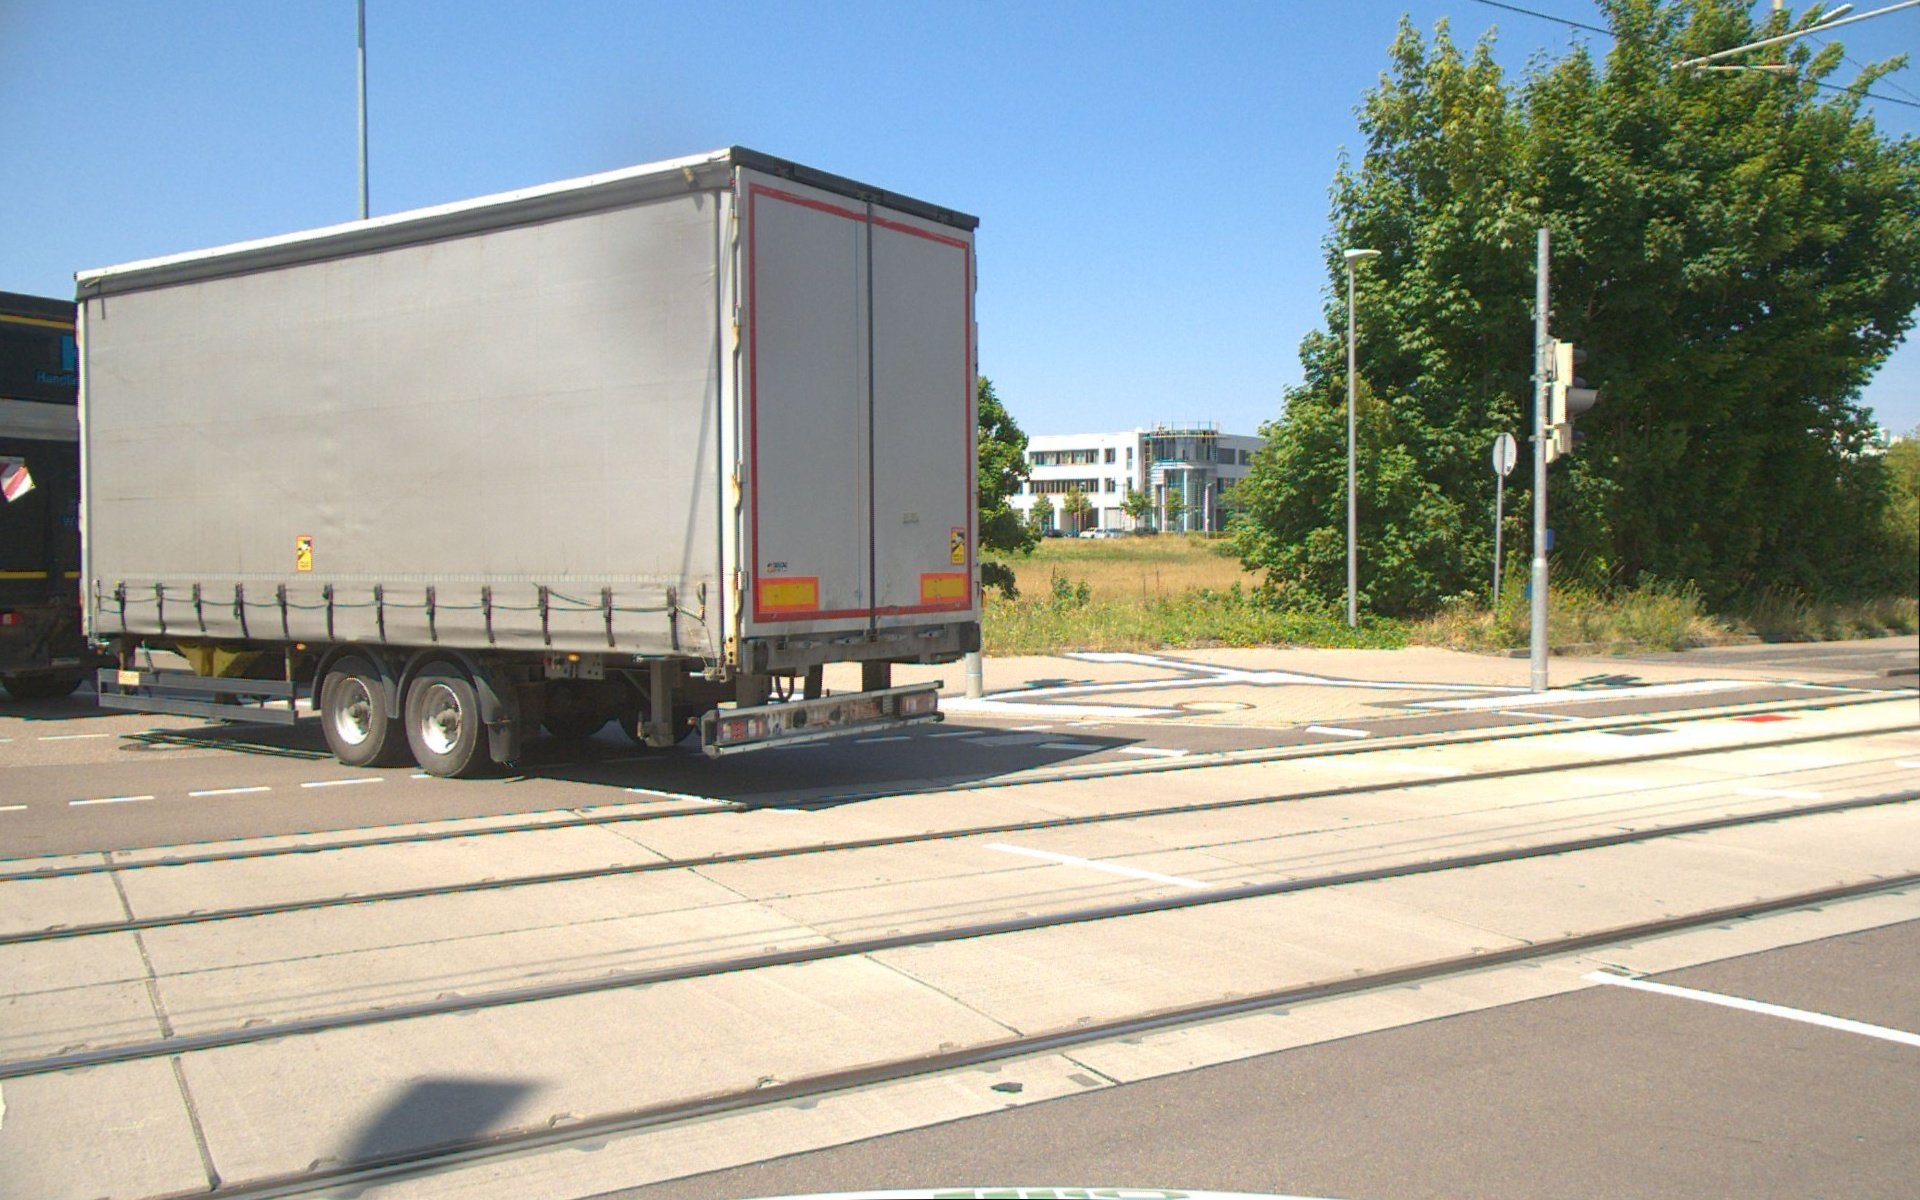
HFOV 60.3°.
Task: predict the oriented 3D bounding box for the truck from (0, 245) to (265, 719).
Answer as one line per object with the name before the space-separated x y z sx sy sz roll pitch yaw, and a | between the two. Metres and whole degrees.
truck | -11.335 -1.121 17.325 7.776 4.140 3.085 1 2 25

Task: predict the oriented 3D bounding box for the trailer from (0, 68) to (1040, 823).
trailer | -4.231 -0.984 13.135 9.609 4.140 3.077 1 3 35

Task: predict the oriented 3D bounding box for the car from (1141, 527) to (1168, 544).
car | 24.707 -8.181 209.527 1.957 2.048 3.992 1 3 31

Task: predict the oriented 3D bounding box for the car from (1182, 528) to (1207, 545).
car | 29.674 -8.057 209.227 1.956 2.048 3.995 1 3 29
